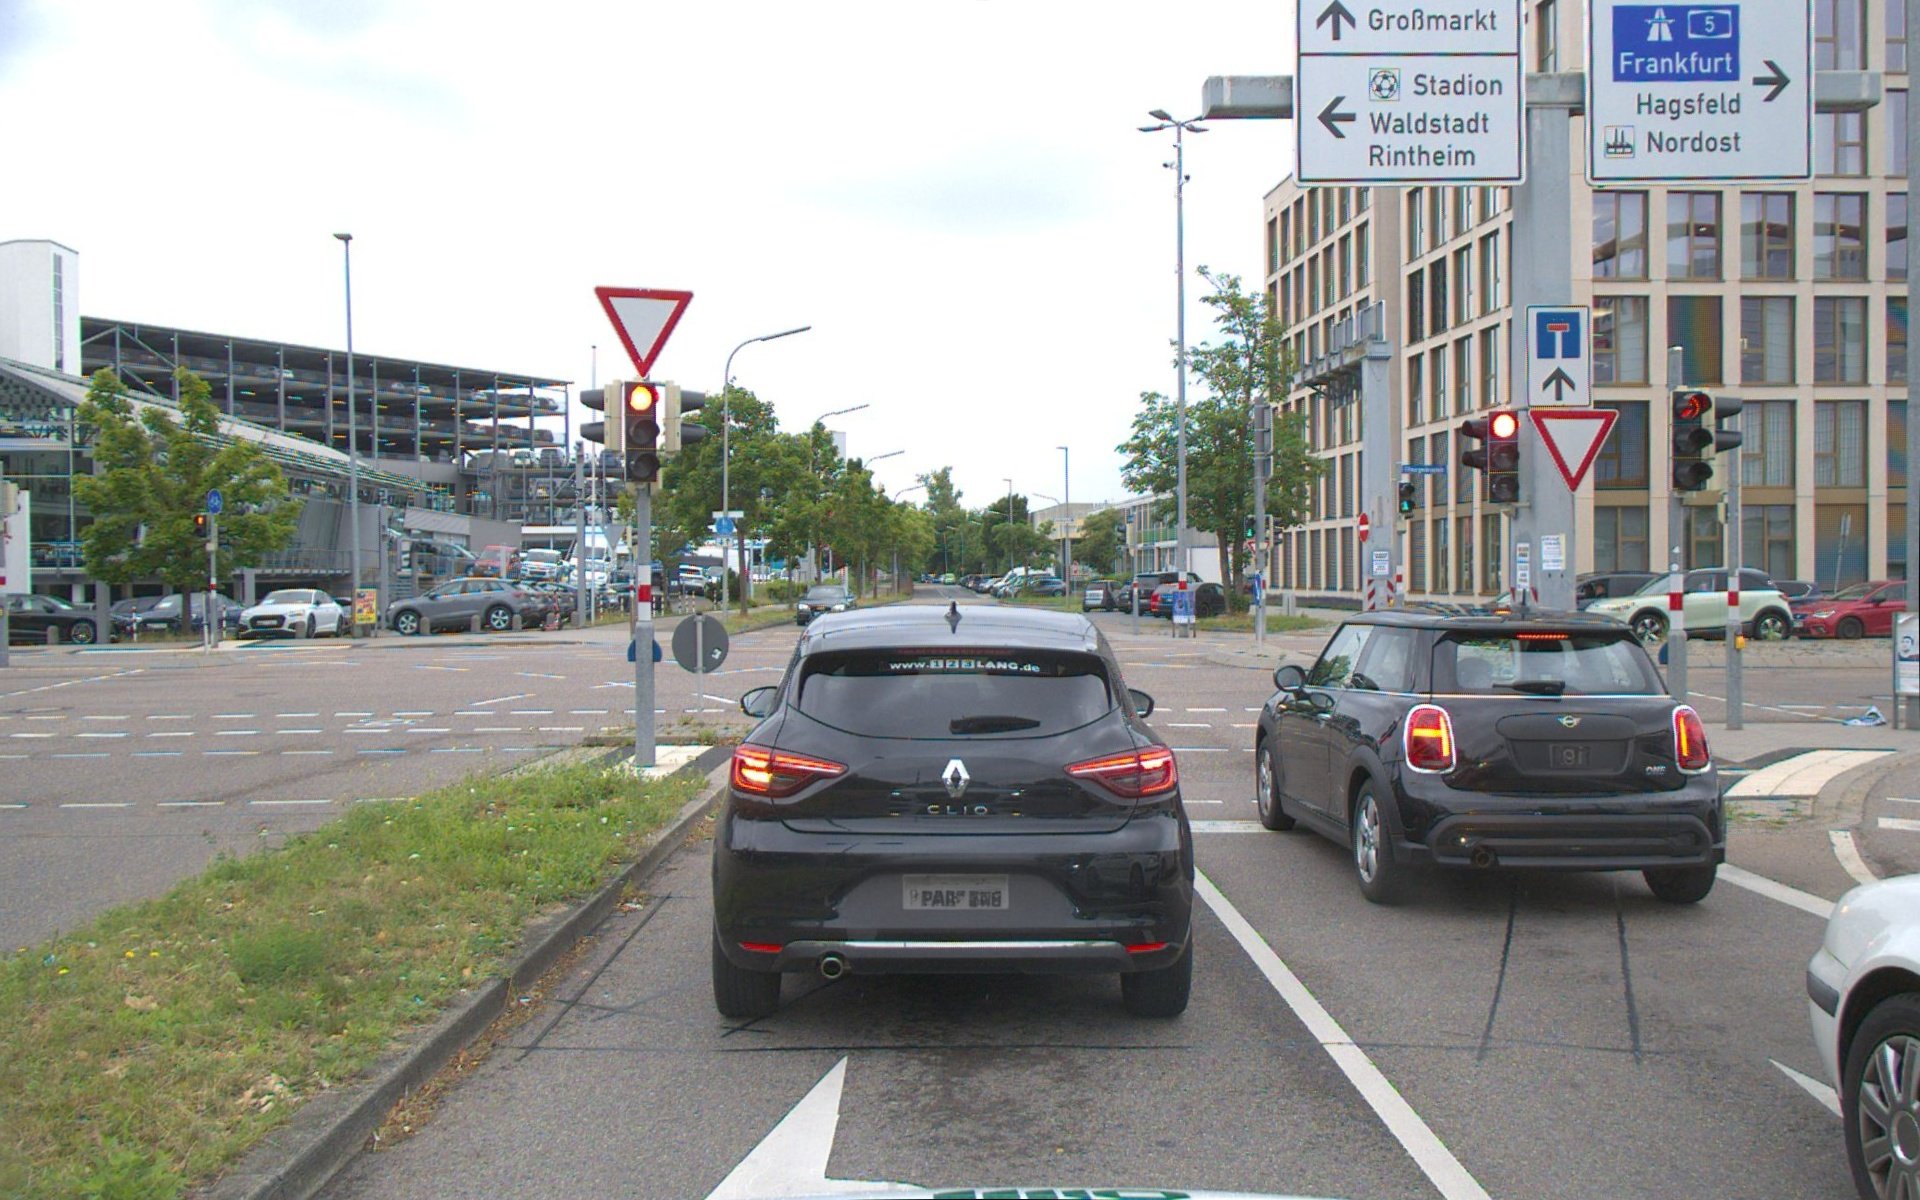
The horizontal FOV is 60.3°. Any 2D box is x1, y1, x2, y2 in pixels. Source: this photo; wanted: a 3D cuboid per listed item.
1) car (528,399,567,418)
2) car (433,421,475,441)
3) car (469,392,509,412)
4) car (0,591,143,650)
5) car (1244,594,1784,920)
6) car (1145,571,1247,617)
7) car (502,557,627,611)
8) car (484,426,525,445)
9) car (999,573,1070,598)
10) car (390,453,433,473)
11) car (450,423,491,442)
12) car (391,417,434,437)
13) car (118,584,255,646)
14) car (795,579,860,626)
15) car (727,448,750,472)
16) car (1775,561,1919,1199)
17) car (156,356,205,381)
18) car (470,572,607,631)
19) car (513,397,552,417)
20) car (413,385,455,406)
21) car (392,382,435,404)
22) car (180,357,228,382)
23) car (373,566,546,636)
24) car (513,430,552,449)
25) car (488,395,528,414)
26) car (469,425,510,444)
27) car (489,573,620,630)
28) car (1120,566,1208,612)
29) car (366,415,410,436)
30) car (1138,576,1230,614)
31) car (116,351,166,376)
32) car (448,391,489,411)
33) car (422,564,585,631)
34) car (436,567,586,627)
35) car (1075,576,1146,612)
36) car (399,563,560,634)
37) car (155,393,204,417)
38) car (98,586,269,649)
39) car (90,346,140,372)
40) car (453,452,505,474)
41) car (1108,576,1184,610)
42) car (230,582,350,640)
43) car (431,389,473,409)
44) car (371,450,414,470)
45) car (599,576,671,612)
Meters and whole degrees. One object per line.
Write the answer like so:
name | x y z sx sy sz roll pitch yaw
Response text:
car | -45.236 -20.934 181.164 3.914 1.696 1.996 1 1 31
car | -51.760 -17.239 169.145 3.914 1.696 1.996 1 1 31
car | -49.449 -20.822 173.693 3.914 1.696 1.996 1 1 31
car | -25.321 0.594 45.596 4.646 1.512 1.891 -1 -2 -4
car | 2.811 0.715 9.265 1.749 1.440 3.642 1 0 -1
car | 9.563 -0.238 66.783 4.096 1.799 1.861 0 0 -41
car | -16.630 -0.664 69.773 4.798 2.049 1.998 -2 0 -6
car | -48.373 -17.461 175.639 3.914 1.696 1.996 1 1 31
car | 5.542 -1.086 123.581 5.070 1.750 2.142 1 0 -3
car | -54.670 -13.668 164.816 3.914 1.696 1.996 1 1 31
car | -50.663 -17.296 171.123 3.914 1.696 1.996 1 1 31
car | -54.401 -17.192 164.346 3.914 1.696 1.996 1 1 31
car | -21.344 0.467 45.846 2.023 1.512 4.510 -2 -2 -6
car | -4.708 0.046 59.212 1.938 1.578 4.614 0 1 0
car | -21.194 -13.375 158.543 1.955 1.915 3.996 -1 0 -5
car | 3.087 0.673 2.386 1.795 1.504 4.004 1 0 -1
car | -67.160 -19.953 142.438 3.914 1.696 1.996 1 1 31
car | -16.319 0.071 64.223 4.798 2.049 1.998 -2 0 -6
car | -46.303 -20.911 179.204 3.914 1.696 1.996 1 1 31
car | -53.078 -20.623 166.829 3.914 1.696 1.996 1 1 31
car | -54.394 -20.572 164.508 3.914 1.696 1.996 1 1 31
car | -66.150 -20.144 144.633 3.914 1.696 1.996 1 1 31
car | -15.278 0.033 50.725 4.680 1.895 1.998 -2 0 -6
car | -46.295 -17.365 179.022 3.914 1.696 1.996 1 1 31
car | -48.095 -20.785 175.823 3.914 1.696 1.996 1 1 31
car | -49.438 -17.405 173.666 3.914 1.696 1.996 1 1 31
car | -16.359 0.052 66.943 4.798 2.049 1.998 -2 0 -6
car | 9.208 -0.494 74.366 1.963 2.000 4.221 -1 0 41
car | -55.964 -17.095 161.753 3.914 1.696 1.996 1 1 31
car | 9.665 -0.209 71.172 1.857 1.578 4.105 -1 0 44
car | -69.303 -20.001 139.927 3.914 1.696 1.996 1 1 31
car | -50.928 -20.648 171.465 3.914 1.696 1.996 1 1 31
car | -15.481 -0.089 56.299 4.925 2.049 2.263 -2 0 -5
car | -15.933 -0.097 58.920 4.853 1.909 2.051 -2 0 -7
car | 7.663 -0.301 84.057 3.405 1.762 1.739 1 -1 -43
car | -15.417 -0.038 53.292 4.610 2.049 1.998 -2 0 -5
car | -67.180 -16.788 142.342 3.914 1.696 1.996 1 1 31
car | -25.799 0.551 55.060 4.706 1.973 1.999 -1 1 -4
car | -70.380 -20.030 137.735 3.914 1.696 1.996 1 1 31
car | -50.654 -14.416 174.121 5.212 1.979 2.208 1 1 28
car | 8.774 -0.322 77.762 1.667 1.537 3.794 -1 0 42
car | -18.593 0.336 46.079 1.832 1.512 4.226 -1 -1 -4
car | -52.043 -20.592 169.470 3.914 1.696 1.996 1 1 31
car | -55.739 -13.773 162.367 3.914 1.696 1.996 1 1 31
car | -19.369 -0.357 98.604 3.908 2.049 1.999 1 0 -4
